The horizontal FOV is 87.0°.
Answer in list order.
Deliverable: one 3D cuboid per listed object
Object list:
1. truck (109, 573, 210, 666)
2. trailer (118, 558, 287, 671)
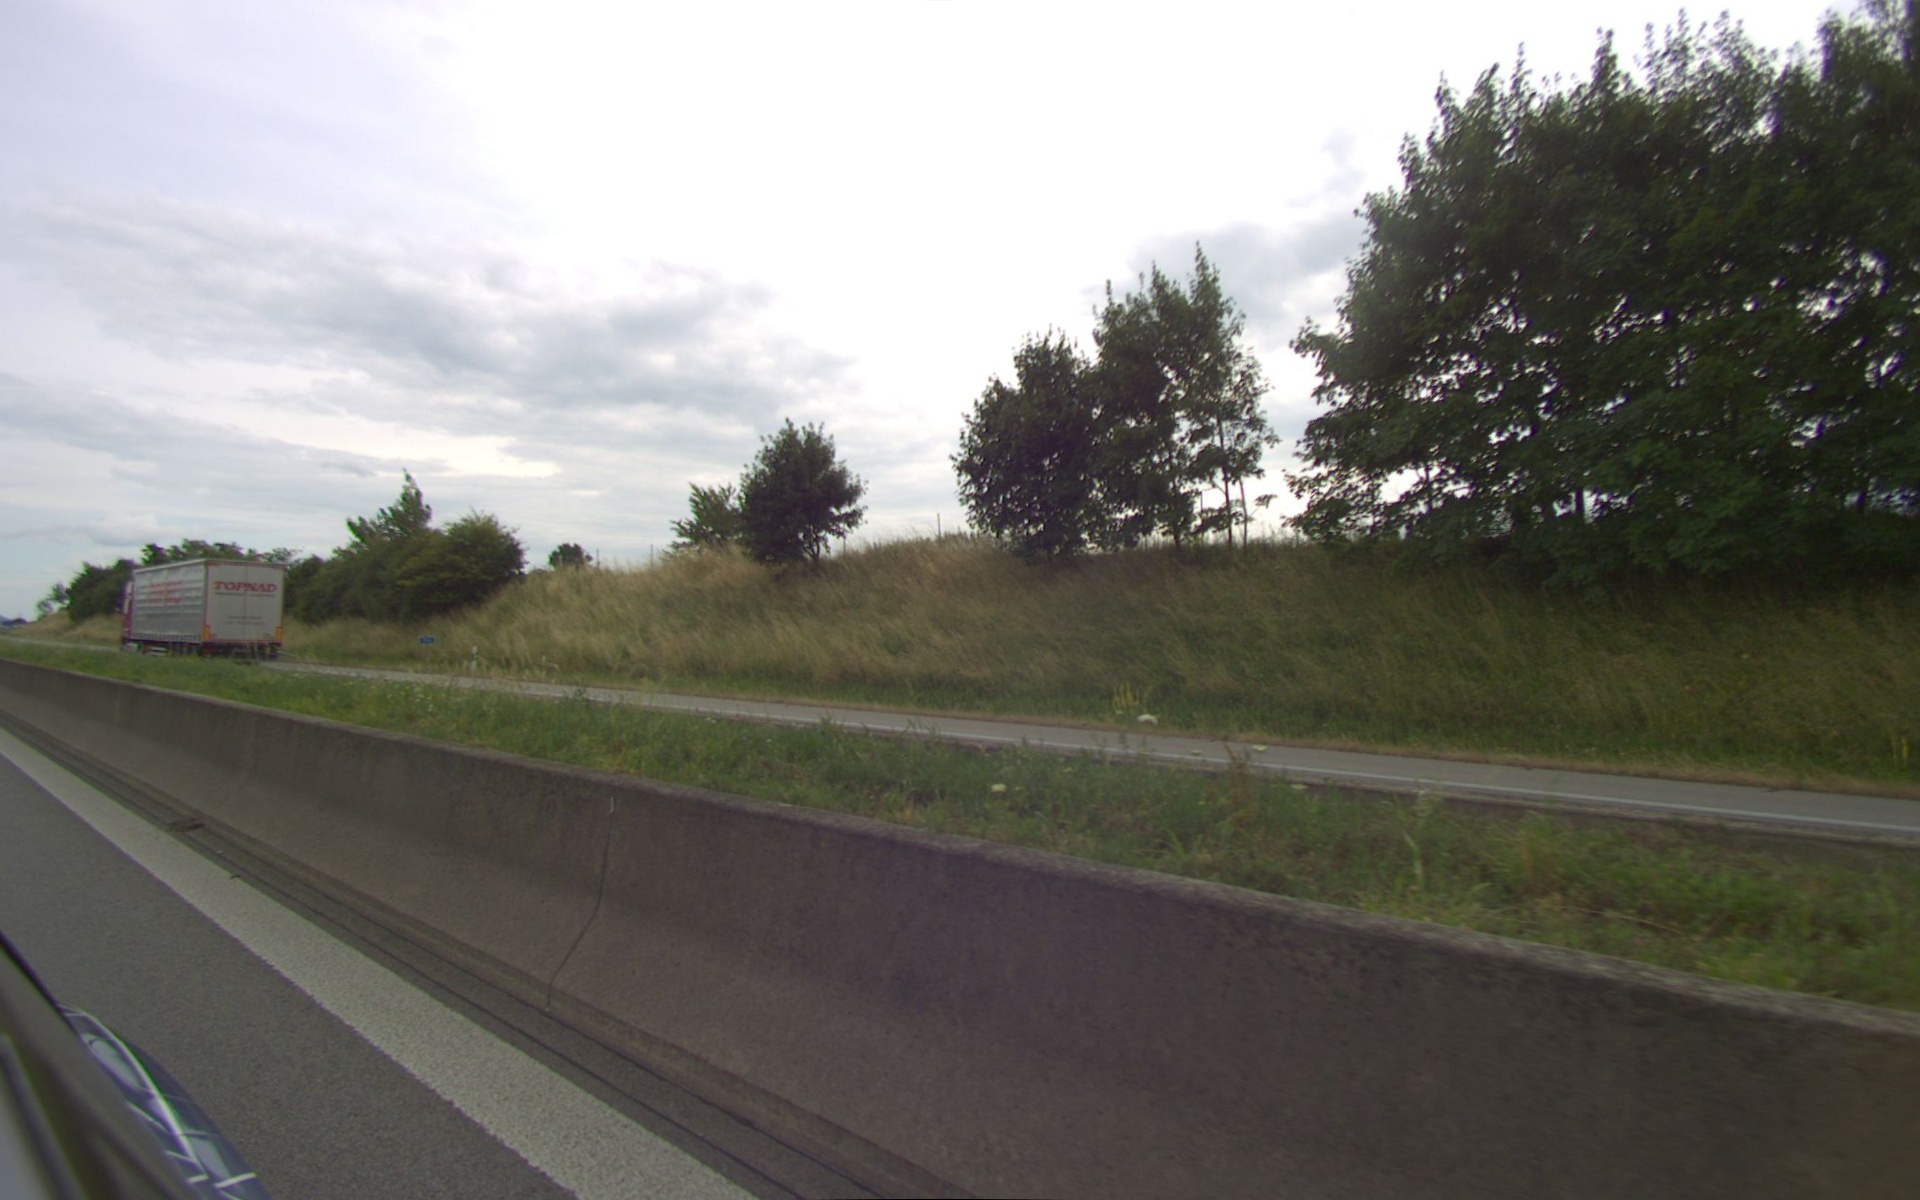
[{"bbox_3d":[-37.596,0.978,47.487,5.162,4.120,2.678,-2,-4,41],"label":"truck"},{"bbox_3d":[-32.273,0.784,42.717,14.591,4.120,2.678,-2,-4,42],"label":"trailer"}]
